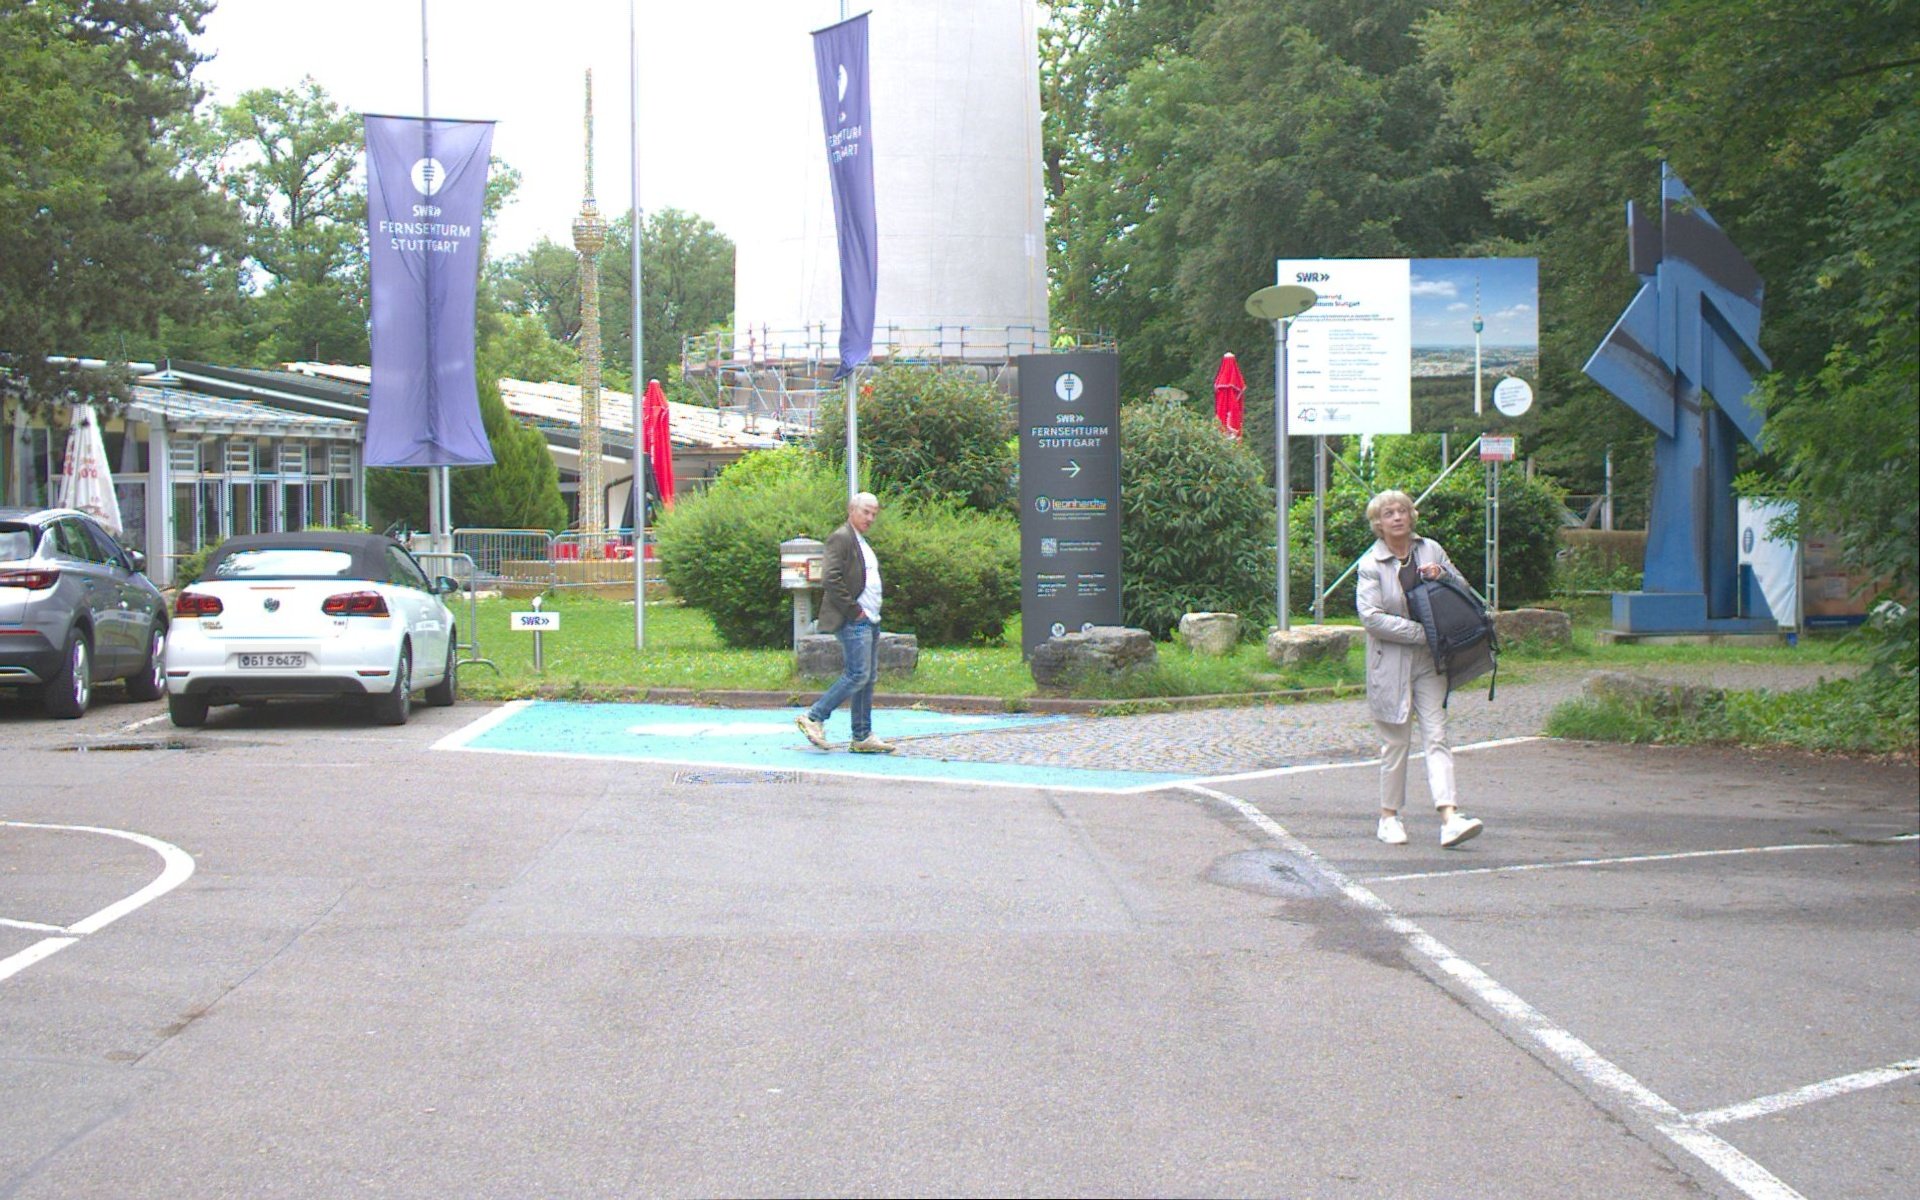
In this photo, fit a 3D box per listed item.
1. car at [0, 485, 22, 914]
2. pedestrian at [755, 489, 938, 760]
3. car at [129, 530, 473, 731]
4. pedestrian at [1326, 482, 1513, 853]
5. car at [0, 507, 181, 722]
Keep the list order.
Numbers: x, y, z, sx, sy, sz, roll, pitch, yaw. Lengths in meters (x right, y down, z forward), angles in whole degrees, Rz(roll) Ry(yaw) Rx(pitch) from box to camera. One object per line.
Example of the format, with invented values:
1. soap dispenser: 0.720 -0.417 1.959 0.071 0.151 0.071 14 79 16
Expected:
1. car: -5.751 0.345 13.724 4.384 1.603 1.825 1 1 43
2. pedestrian: -0.736 0.142 22.317 0.896 1.719 0.763 1 1 36
3. car: -4.996 0.176 26.584 1.893 1.423 4.000 0 1 0
4. pedestrian: 2.182 0.305 16.421 0.762 1.719 0.897 0 1 0
5. car: -7.580 0.061 27.236 1.893 1.579 4.000 0 1 0
